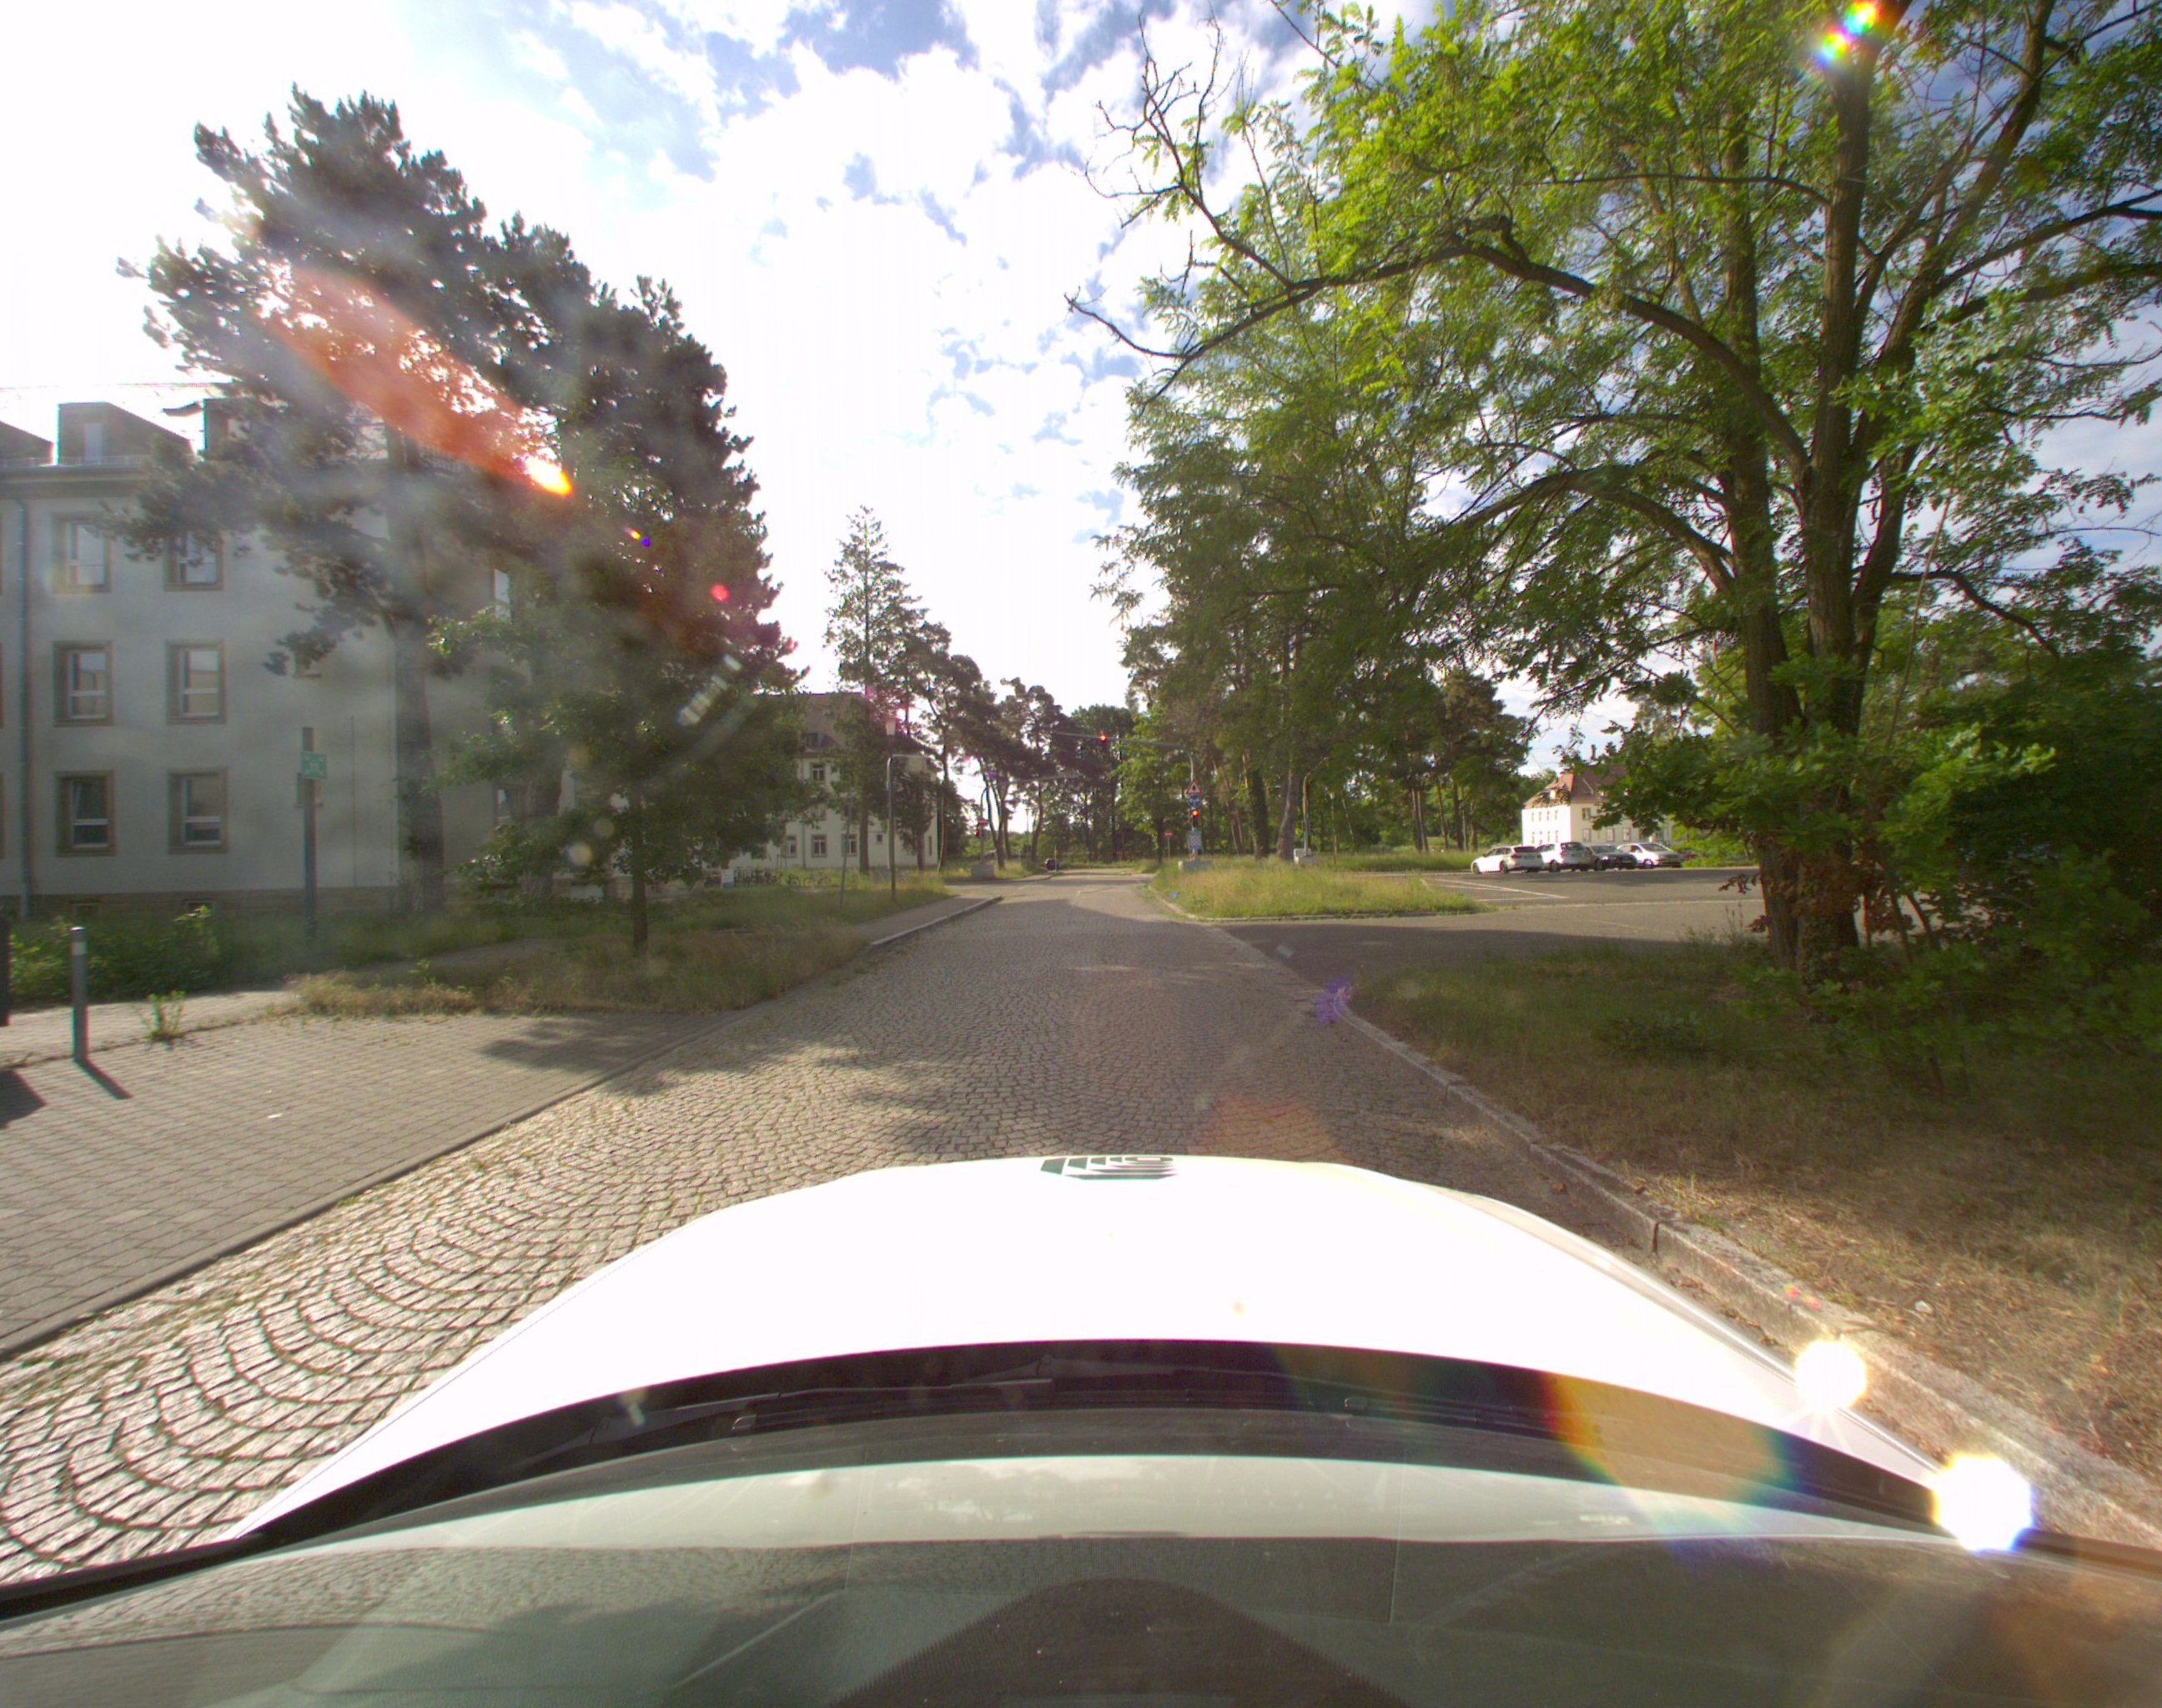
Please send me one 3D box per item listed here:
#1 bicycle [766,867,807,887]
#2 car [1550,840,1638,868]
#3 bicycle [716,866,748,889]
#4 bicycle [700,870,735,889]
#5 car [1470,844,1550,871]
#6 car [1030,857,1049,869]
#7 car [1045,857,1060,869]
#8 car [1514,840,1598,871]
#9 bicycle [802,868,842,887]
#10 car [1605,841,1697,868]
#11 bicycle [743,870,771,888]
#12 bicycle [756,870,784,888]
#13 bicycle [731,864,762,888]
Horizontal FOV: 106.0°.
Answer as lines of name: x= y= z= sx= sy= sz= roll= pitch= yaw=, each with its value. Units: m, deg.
bicycle: x=-17.644 y=1.392 z=48.750 sx=2.112 sy=1.108 sz=0.828 roll=-2 pitch=0 yaw=-3
car: x=26.931 y=-0.009 z=42.904 sx=1.727 sy=1.312 sz=4.328 roll=-4 pitch=0 yaw=-2
bicycle: x=-21.412 y=1.424 z=50.025 sx=0.823 sy=1.281 sz=2.554 roll=-2 pitch=0 yaw=1
bicycle: x=-22.310 y=1.544 z=50.031 sx=0.897 sy=1.047 sz=2.554 roll=-2 pitch=0 yaw=1
car: x=22.169 y=0.169 z=42.248 sx=1.726 sy=1.312 sz=4.328 roll=-2 pitch=0 yaw=-2
car: x=-5.605 y=1.209 z=110.977 sx=1.772 sy=1.490 sz=3.764 roll=-2 pitch=0 yaw=8
car: x=-3.690 y=1.164 z=106.163 sx=1.840 sy=1.486 sz=3.998 roll=-2 pitch=0 yaw=-1
car: x=24.687 y=0.073 z=42.538 sx=1.726 sy=1.476 sz=4.328 roll=-2 pitch=0 yaw=-2
bicycle: x=-15.522 y=1.383 z=48.830 sx=2.112 sy=1.047 sz=0.828 roll=-2 pitch=0 yaw=-3
car: x=30.042 y=0.027 z=43.083 sx=1.726 sy=1.312 sz=4.328 roll=-2 pitch=0 yaw=-2
bicycle: x=-19.849 y=1.535 z=49.973 sx=0.823 sy=1.047 sz=2.124 roll=-2 pitch=0 yaw=1
bicycle: x=-19.067 y=1.533 z=50.011 sx=0.823 sy=1.047 sz=2.124 roll=-2 pitch=0 yaw=1
bicycle: x=-20.636 y=1.331 z=50.322 sx=0.823 sy=1.437 sz=2.554 roll=-2 pitch=0 yaw=1
